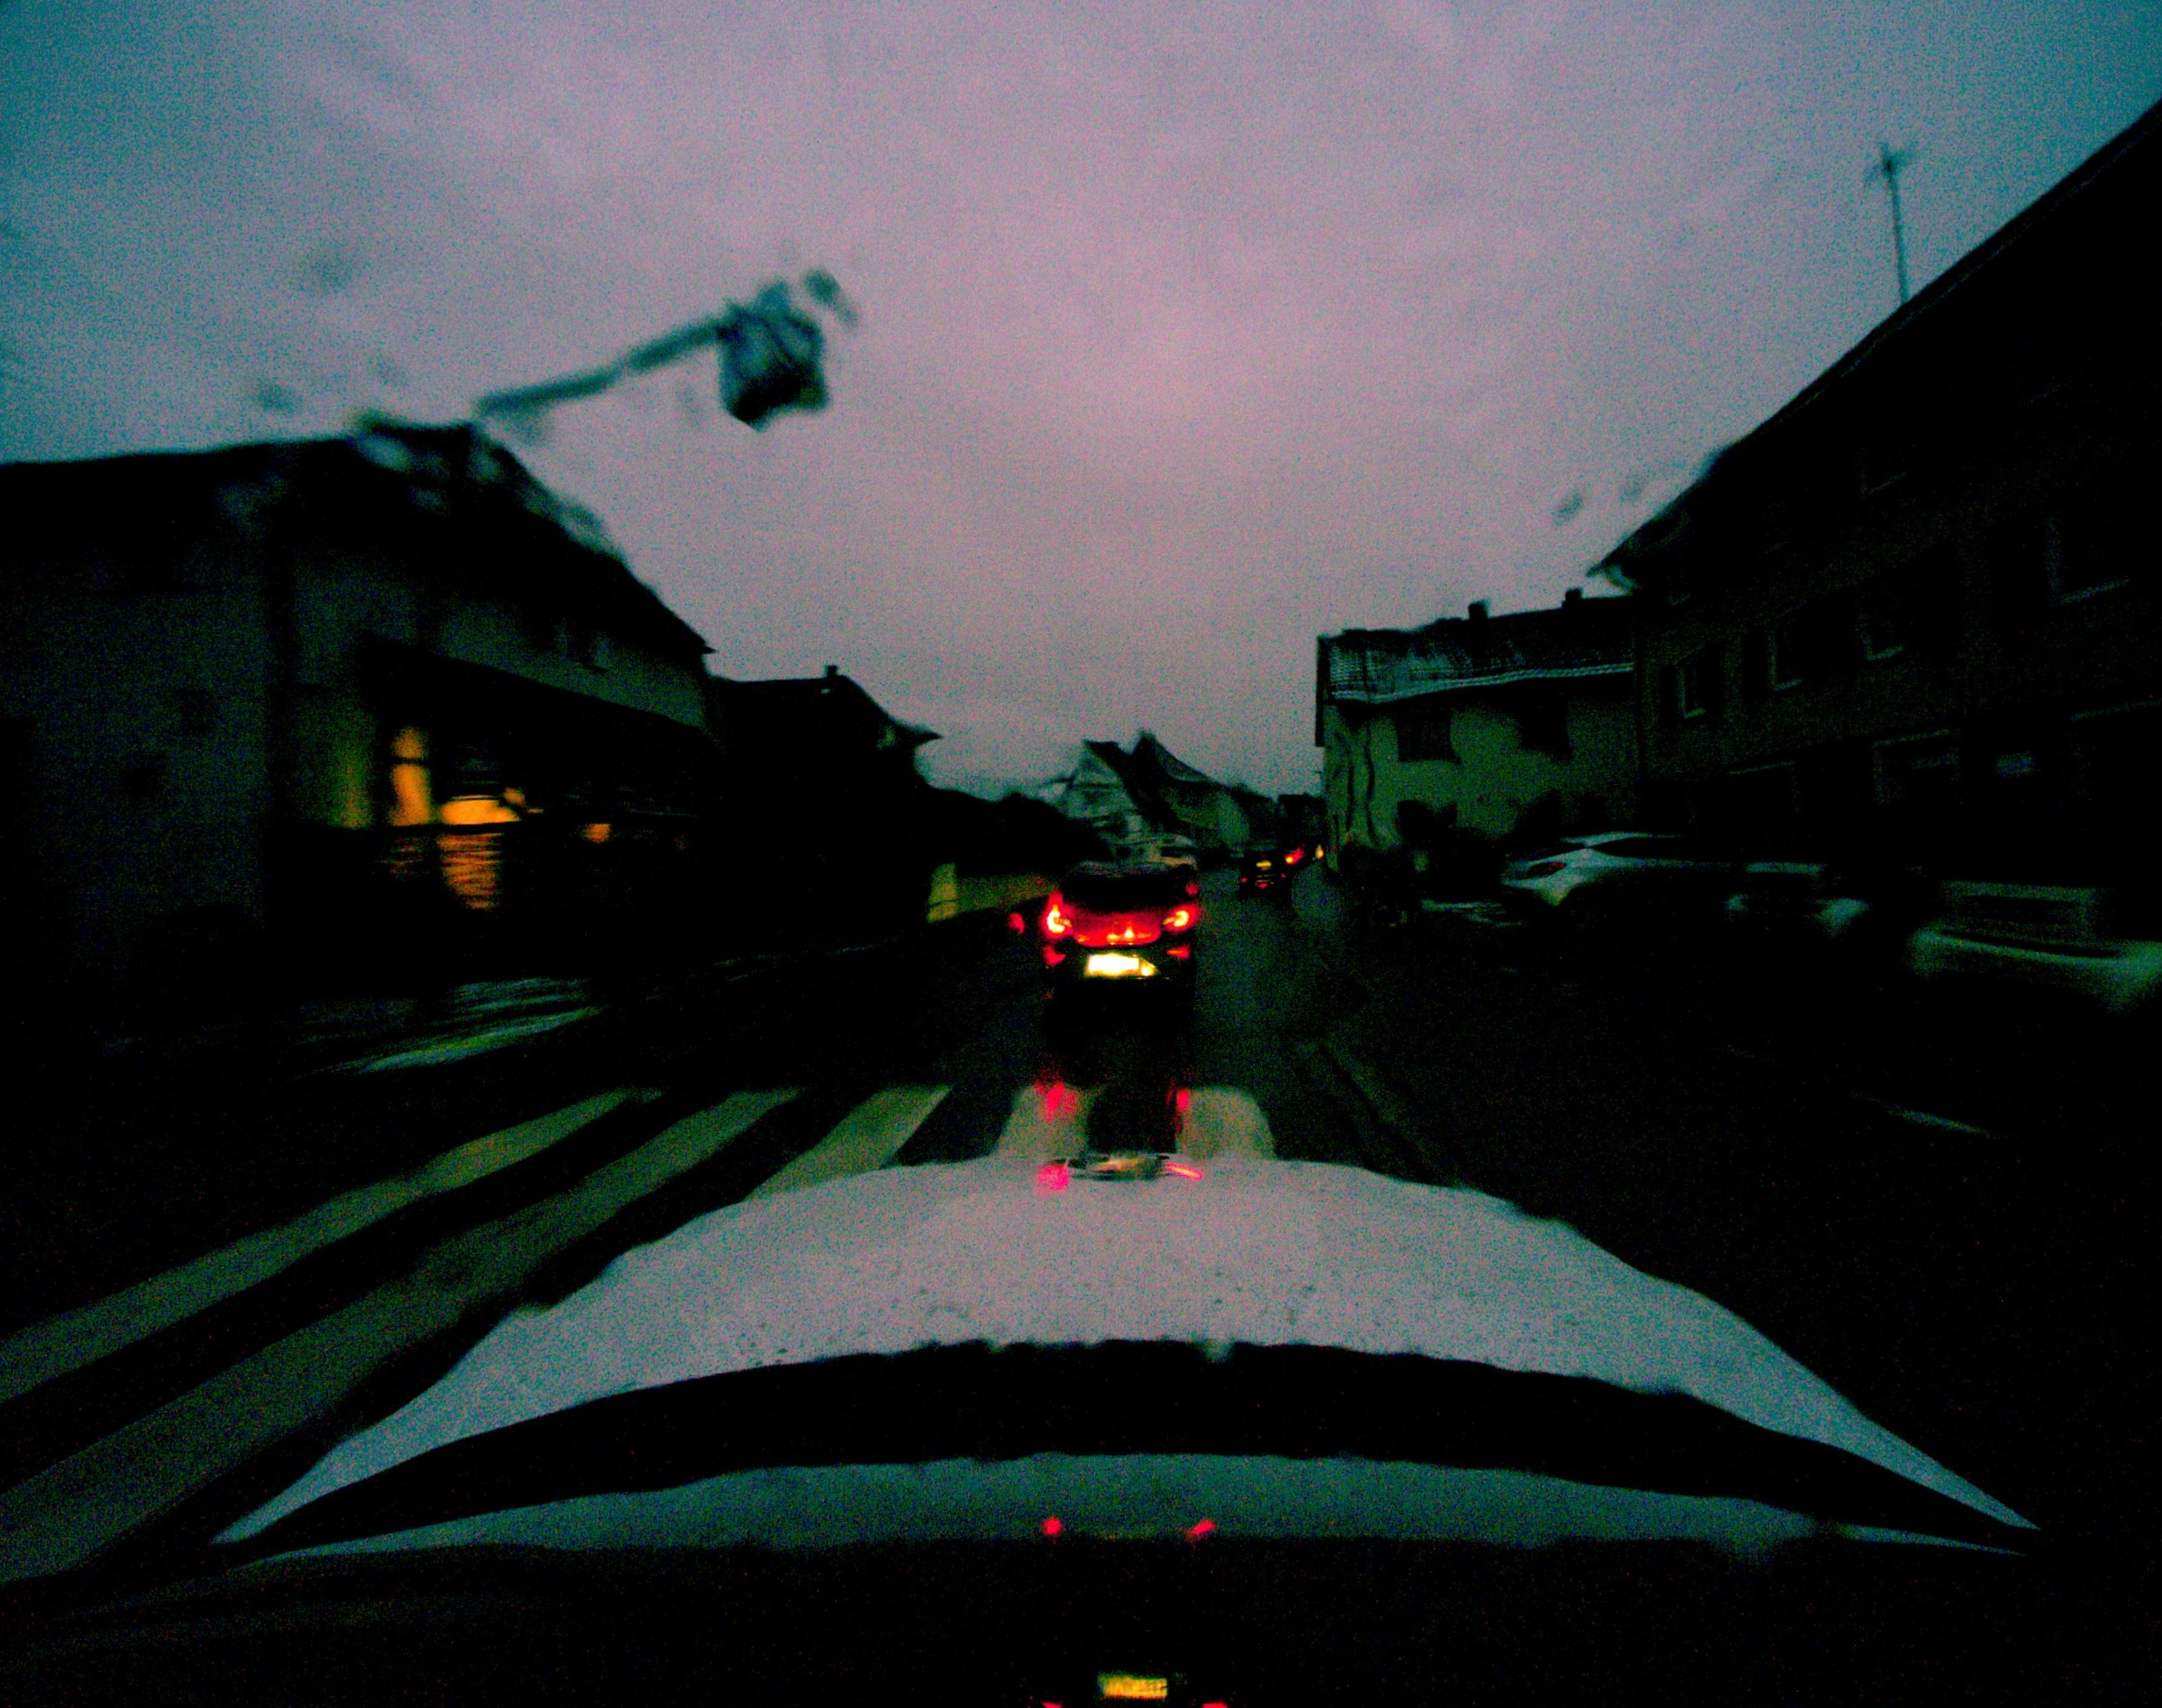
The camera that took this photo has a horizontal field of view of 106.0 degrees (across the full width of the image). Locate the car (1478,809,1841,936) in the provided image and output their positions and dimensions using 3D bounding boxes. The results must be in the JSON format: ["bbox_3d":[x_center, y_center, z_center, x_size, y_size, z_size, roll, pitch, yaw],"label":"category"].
[{"bbox_3d":[8.166,0.266,11.871,3.876,1.474,1.755,-4,-1,9],"label":"car"}]

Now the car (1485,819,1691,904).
[{"bbox_3d":[10.364,0.157,16.850,3.198,1.474,1.591,-4,-1,7],"label":"car"}]

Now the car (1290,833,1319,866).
[{"bbox_3d":[17.002,-0.356,61.939,1.799,2.413,3.769,-2,0,19],"label":"car"}]

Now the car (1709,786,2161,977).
[{"bbox_3d":[8.112,0.237,7.674,3.046,1.474,1.554,-4,-1,9],"label":"car"}]

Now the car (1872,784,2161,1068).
[{"bbox_3d":[7.124,0.321,5.159,2.569,1.547,1.554,-4,0,6],"label":"car"}]

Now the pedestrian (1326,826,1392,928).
[{"bbox_3d":[4.876,0.396,14.340,0.861,1.667,0.996,-5,-1,13],"label":"pedestrian"}]

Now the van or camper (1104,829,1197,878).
[{"bbox_3d":[4.987,-0.013,58.625,6.007,2.955,2.419,-6,-2,22],"label":"van or camper"}]

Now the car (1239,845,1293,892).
[{"bbox_3d":[7.093,0.525,31.125,1.834,1.637,4.352,-1,0,14],"label":"car"}]

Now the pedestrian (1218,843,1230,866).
[{"bbox_3d":[12.603,0.028,71.688,0.866,2.013,0.798,-2,-1,17],"label":"pedestrian"}]

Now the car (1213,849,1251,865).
[{"bbox_3d":[15.482,0.300,83.372,3.476,1.507,1.702,-2,0,24],"label":"car"}]

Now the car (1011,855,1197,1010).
[{"bbox_3d":[0.382,0.773,9.948,1.787,1.476,4.005,-1,0,5],"label":"car"}]

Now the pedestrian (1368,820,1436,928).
[{"bbox_3d":[5.490,0.327,13.992,0.842,1.733,0.975,-5,-1,15],"label":"pedestrian"}]
